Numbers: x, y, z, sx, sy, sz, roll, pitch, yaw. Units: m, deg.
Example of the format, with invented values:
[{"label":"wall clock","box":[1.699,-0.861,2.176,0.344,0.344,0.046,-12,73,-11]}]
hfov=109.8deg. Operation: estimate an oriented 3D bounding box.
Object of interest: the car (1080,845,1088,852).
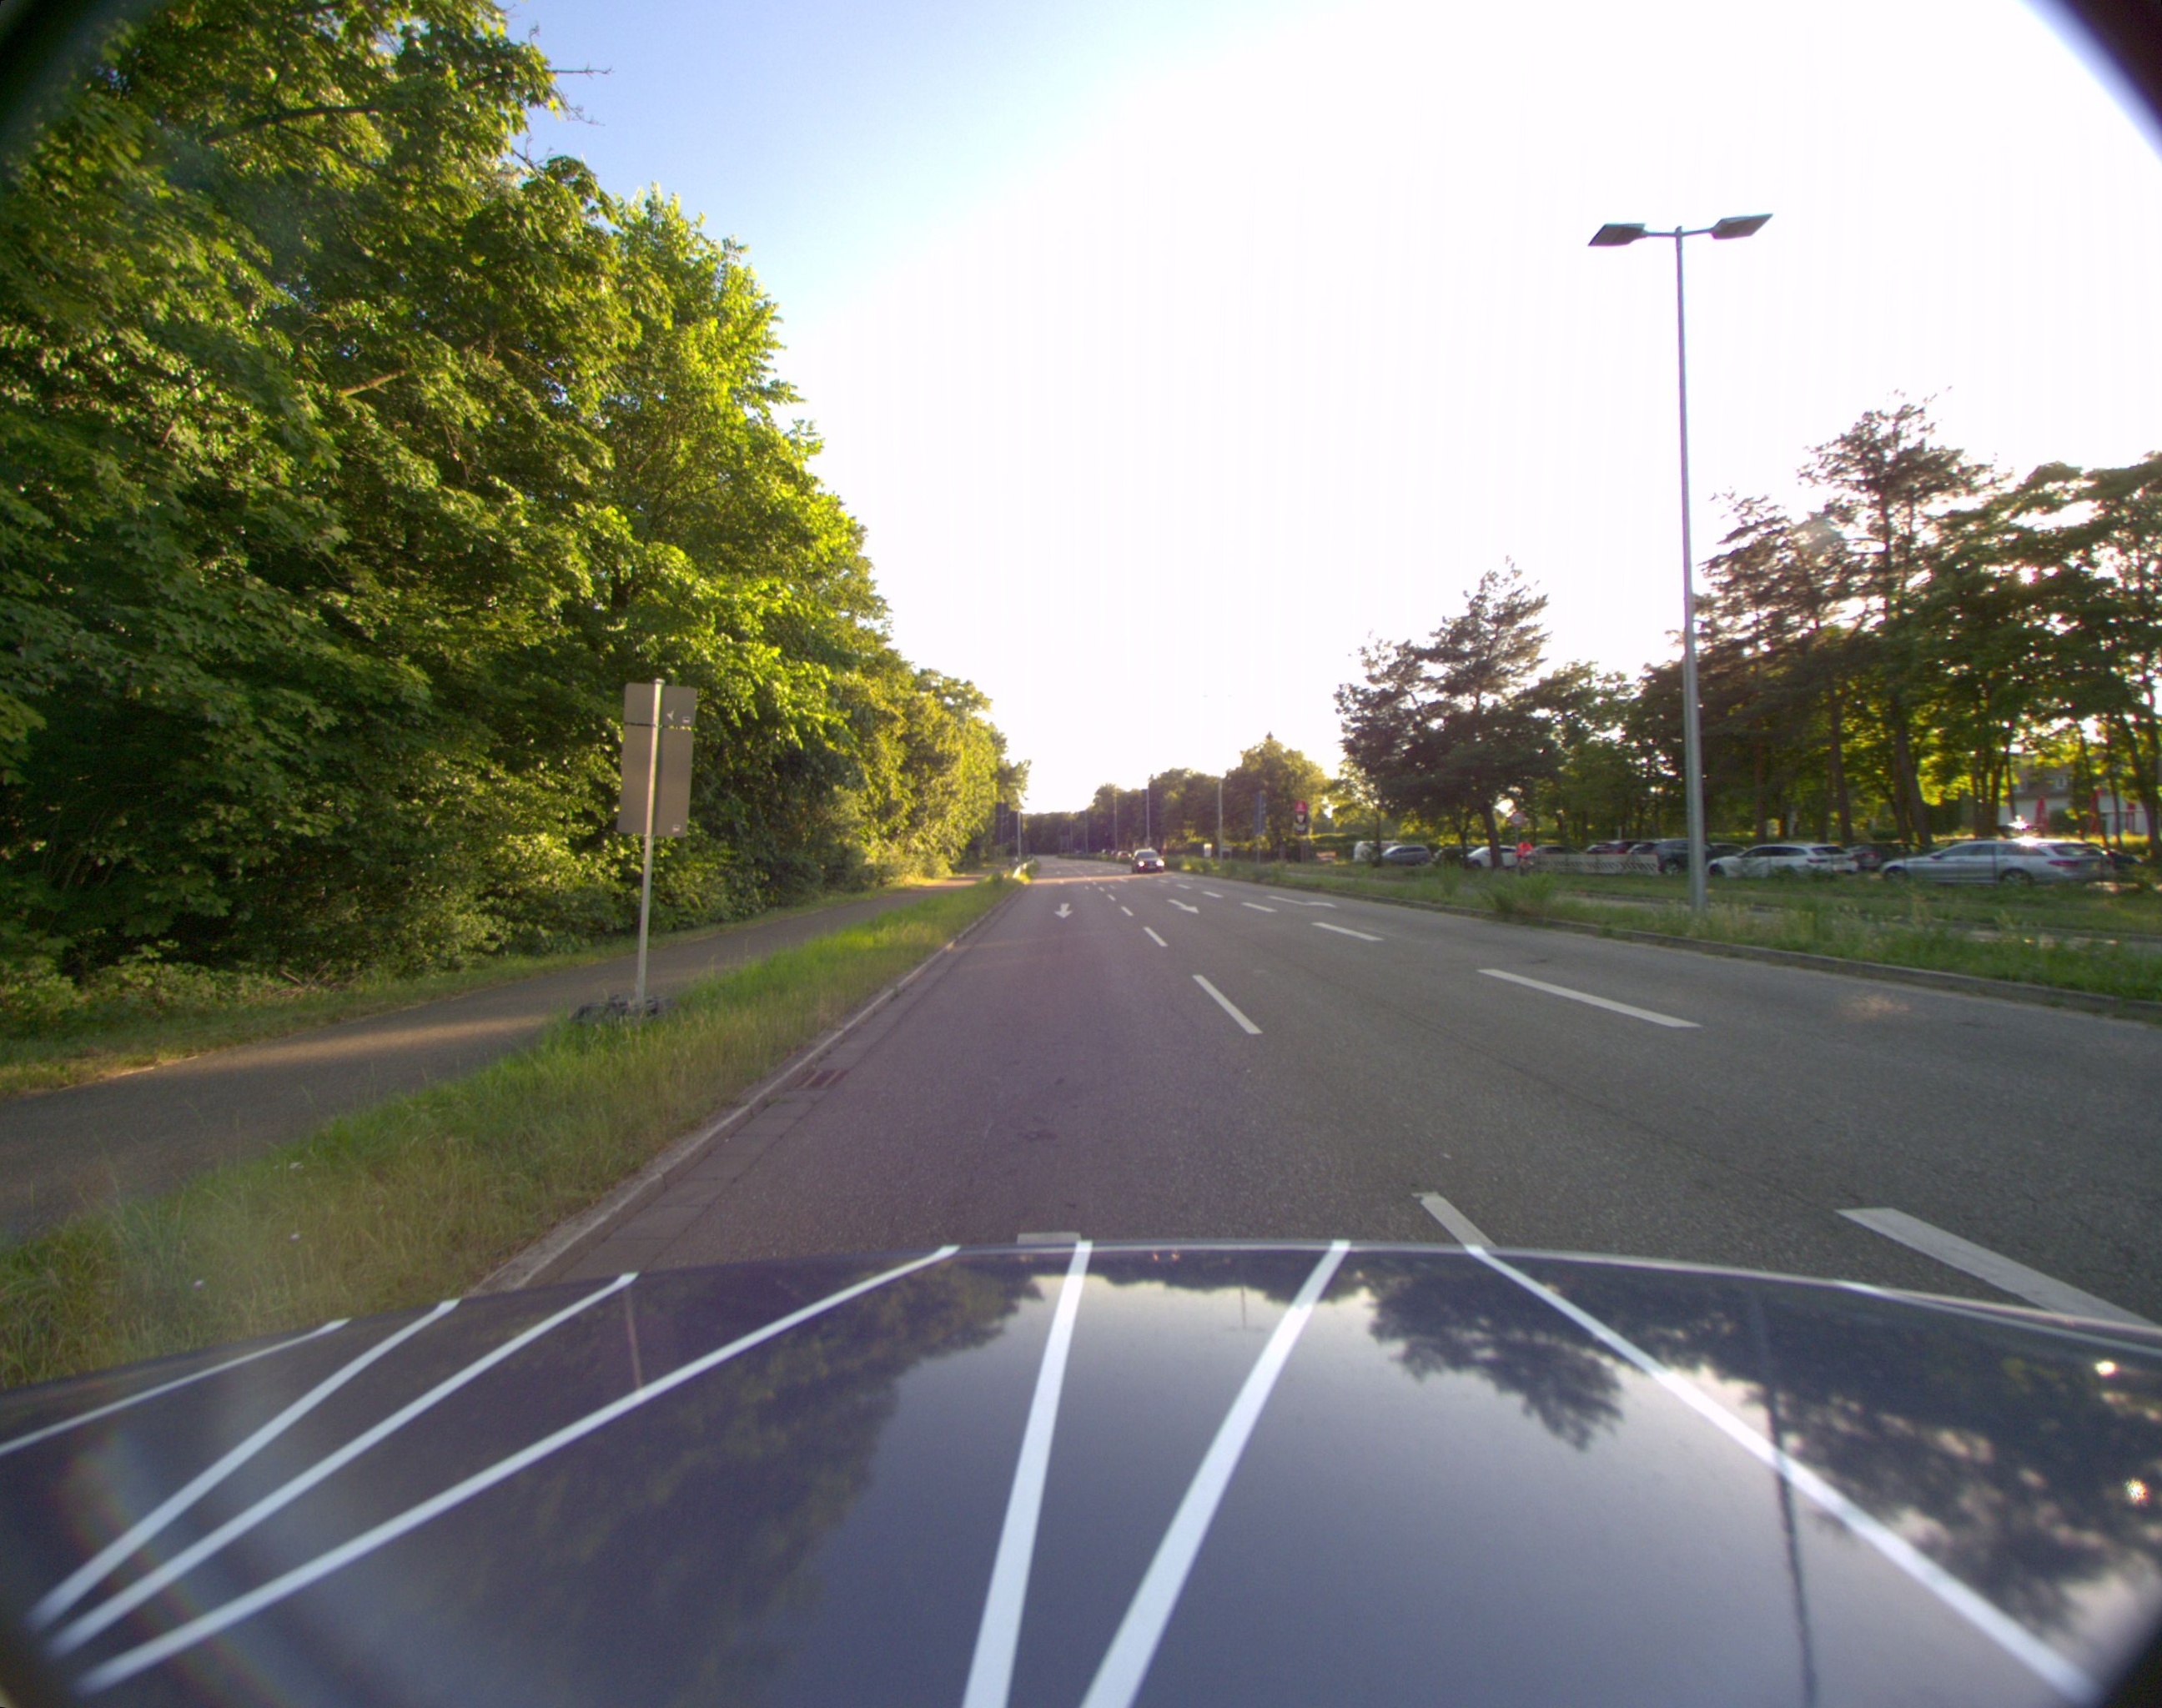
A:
[{"label":"car","box":[0.757,-1.446,202.232,1.760,1.532,3.998,-3,1,-4]}]

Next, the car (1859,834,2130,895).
[{"label":"car","box":[26.777,0.248,22.621,1.999,1.597,4.920,-1,0,-4]}]

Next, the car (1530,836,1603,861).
[{"label":"car","box":[34.121,-0.387,53.477,3.997,1.641,1.766,-1,1,-1]}]

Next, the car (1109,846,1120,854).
[{"label":"car","box":[6.757,-0.783,154.562,1.761,1.532,3.998,-3,1,-4]}]

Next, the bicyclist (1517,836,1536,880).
[{"label":"bicyclist","box":[19.190,0.173,32.728,0.459,1.863,0.618,-1,1,-3]}]

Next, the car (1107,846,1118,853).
[{"label":"car","box":[6.827,-0.986,164.601,1.761,1.532,3.997,-3,1,-5]}]

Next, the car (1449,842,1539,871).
[{"label":"car","box":[25.170,0.143,46.399,4.497,1.743,1.909,-1,1,-1]}]

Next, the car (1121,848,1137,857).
[{"label":"car","box":[7.465,-0.233,118.929,1.999,1.486,4.511,-1,0,-4]}]

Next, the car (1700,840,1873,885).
[{"label":"car","box":[26.421,0.262,28.729,1.999,1.539,4.708,-1,0,-4]}]

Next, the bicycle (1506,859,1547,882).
[{"label":"bicycle","box":[19.201,0.702,32.770,0.493,0.928,2.044,-1,0,-2]}]

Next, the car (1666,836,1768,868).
[{"label":"car","box":[34.080,-0.112,40.796,3.997,1.641,1.766,-1,1,-1]}]

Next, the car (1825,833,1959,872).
[{"label":"car","box":[35.421,-0.067,33.241,3.997,1.641,1.766,-1,1,-1]}]

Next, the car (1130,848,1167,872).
[{"label":"car","box":[4.495,0.390,51.274,1.999,1.543,3.999,-1,0,-1]}]

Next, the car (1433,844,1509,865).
[{"label":"car","box":[25.048,0.010,48.900,3.997,1.304,1.732,-1,1,-1]}]

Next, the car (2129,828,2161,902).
[{"label":"car","box":[27.108,0.258,16.413,1.999,1.776,4.920,-1,0,-4]}]

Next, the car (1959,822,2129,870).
[{"label":"car","box":[34.982,-0.283,27.685,3.997,1.641,1.766,-1,1,-1]}]

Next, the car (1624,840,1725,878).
[{"label":"car","box":[25.469,0.199,32.683,3.099,1.518,1.659,-1,1,-2]}]

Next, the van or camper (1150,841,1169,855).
[{"label":"van or camper","box":[11.589,-0.939,112.631,1.999,2.002,4.576,-1,1,-4]}]

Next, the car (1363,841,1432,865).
[{"label":"car","box":[24.141,-0.081,58.022,4.498,1.787,1.909,-1,1,-2]}]

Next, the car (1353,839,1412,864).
[{"label":"car","box":[24.200,-0.232,61.062,3.998,1.932,1.766,-1,1,-2]}]

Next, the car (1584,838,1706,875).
[{"label":"car","box":[26.477,0.118,35.772,4.525,1.608,1.771,-1,1,-3]}]
